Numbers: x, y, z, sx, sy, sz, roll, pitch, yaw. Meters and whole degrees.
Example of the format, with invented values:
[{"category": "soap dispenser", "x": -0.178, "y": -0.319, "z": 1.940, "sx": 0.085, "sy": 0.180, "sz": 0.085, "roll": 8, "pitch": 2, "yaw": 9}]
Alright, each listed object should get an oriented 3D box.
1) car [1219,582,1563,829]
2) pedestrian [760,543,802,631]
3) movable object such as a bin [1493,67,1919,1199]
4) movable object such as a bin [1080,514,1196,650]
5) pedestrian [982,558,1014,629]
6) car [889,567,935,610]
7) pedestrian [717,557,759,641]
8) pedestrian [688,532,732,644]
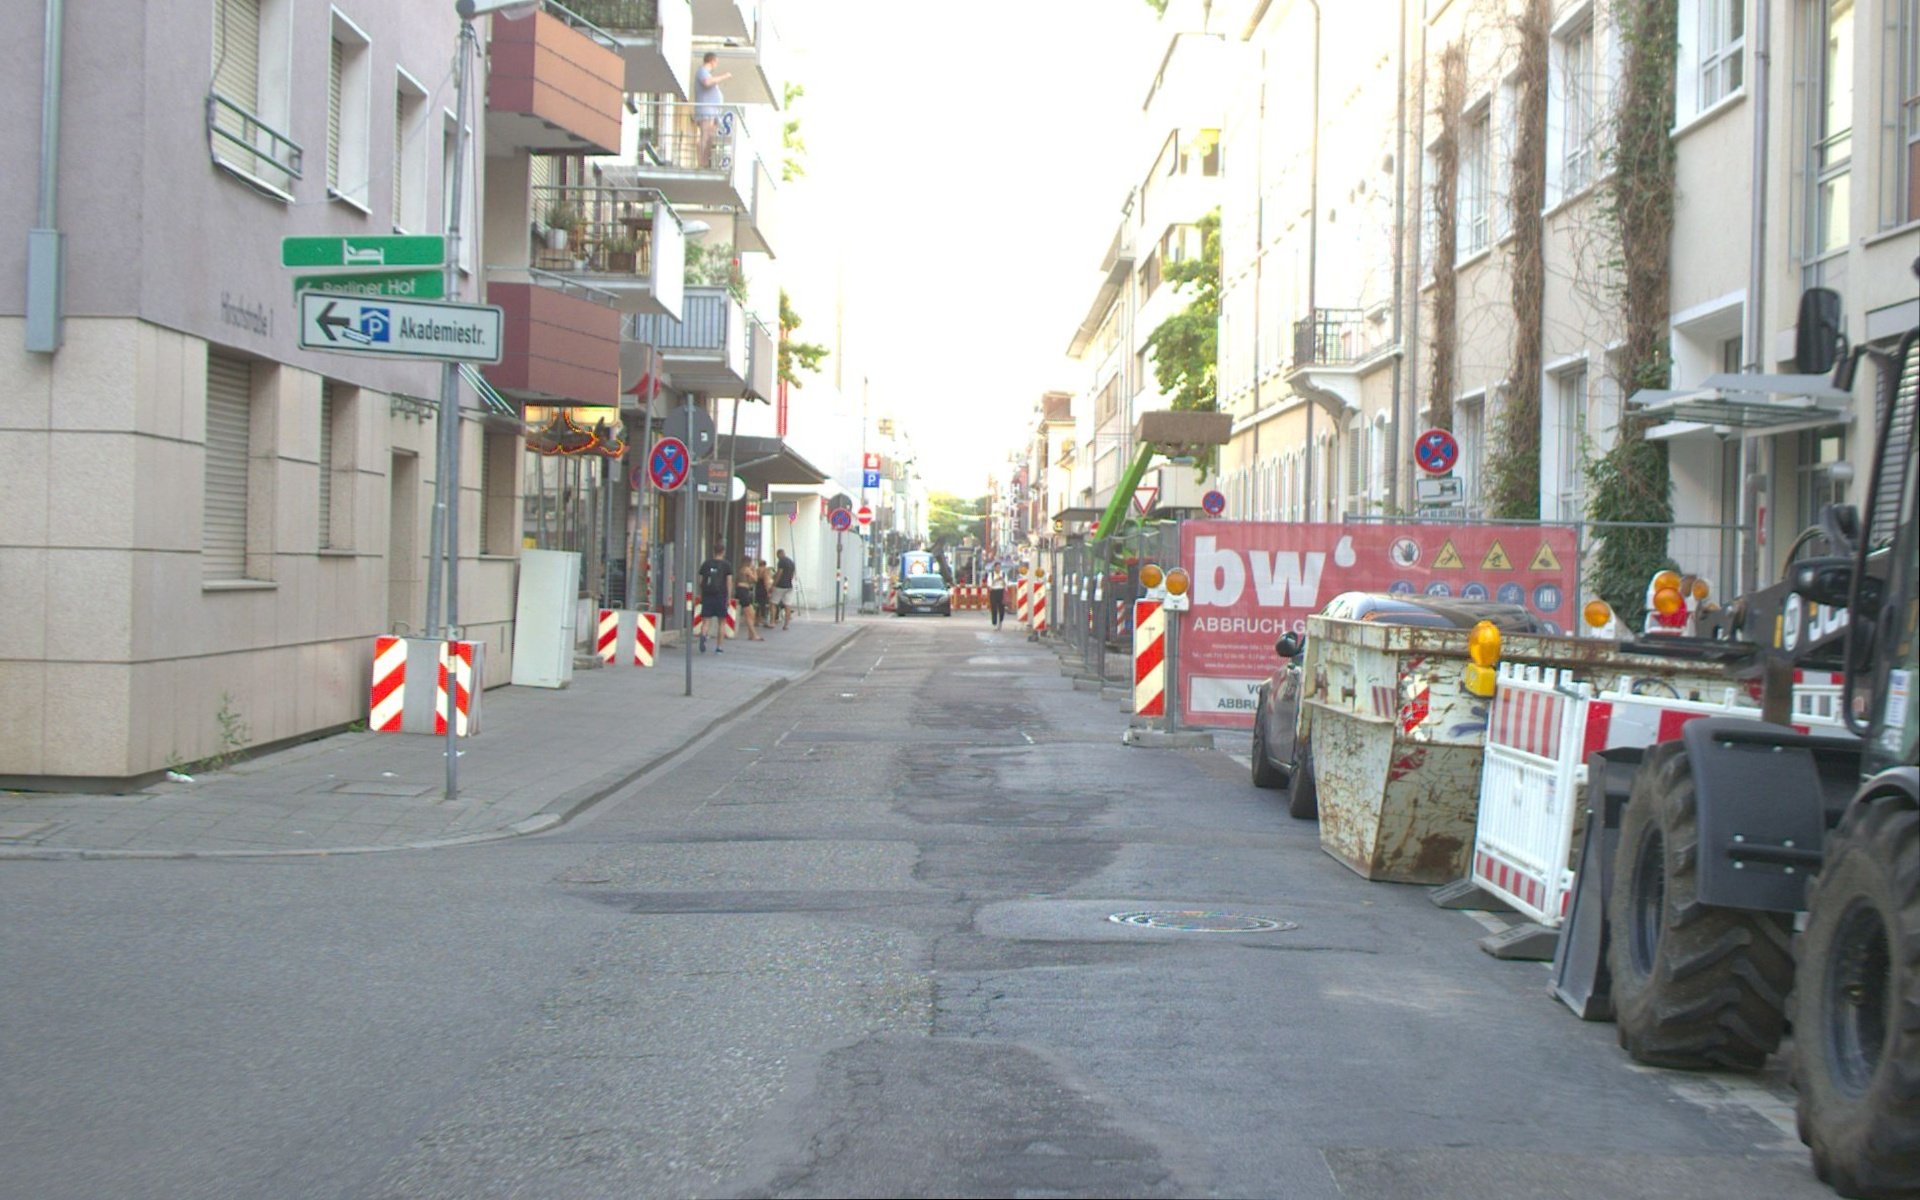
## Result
[{"category": "car", "x": 2.767, "y": 0.623, "z": 22.976, "sx": 1.693, "sy": 1.401, "sz": 4.479, "roll": 2, "pitch": 1, "yaw": 0}, {"category": "pedestrian", "x": -3.893, "y": -0.285, "z": 74.782, "sx": 0.654, "sy": 1.880, "sz": 0.574, "roll": 1, "pitch": 1, "yaw": -33}, {"category": "movable object such as a bin", "x": 3.047, "y": 0.187, "z": 9.619, "sx": 2.166, "sy": 2.587, "sz": 5.543, "roll": 2, "pitch": 0, "yaw": 0}, {"category": "movable object such as a bin", "x": 4.296, "y": -0.474, "z": 83.649, "sx": 2.470, "sy": 3.120, "sz": 4.297, "roll": 2, "pitch": 1, "yaw": 0}, {"category": "pedestrian", "x": 0.926, "y": -0.164, "z": 84.780, "sx": 0.720, "sy": 1.734, "sz": 0.647, "roll": 1, "pitch": 0, "yaw": -2}, {"category": "car", "x": -1.604, "y": -0.402, "z": 115.235, "sx": 1.474, "sy": 1.393, "sz": 3.332, "roll": 1, "pitch": 0, "yaw": 0}, {"category": "pedestrian", "x": -4.206, "y": -0.021, "z": 65.140, "sx": 0.645, "sy": 1.559, "sz": 0.631, "roll": 1, "pitch": 0, "yaw": -15}, {"category": "pedestrian", "x": -4.090, "y": -0.197, "z": 56.270, "sx": 0.629, "sy": 1.802, "sz": 0.647, "roll": 1, "pitch": 0, "yaw": 2}]
